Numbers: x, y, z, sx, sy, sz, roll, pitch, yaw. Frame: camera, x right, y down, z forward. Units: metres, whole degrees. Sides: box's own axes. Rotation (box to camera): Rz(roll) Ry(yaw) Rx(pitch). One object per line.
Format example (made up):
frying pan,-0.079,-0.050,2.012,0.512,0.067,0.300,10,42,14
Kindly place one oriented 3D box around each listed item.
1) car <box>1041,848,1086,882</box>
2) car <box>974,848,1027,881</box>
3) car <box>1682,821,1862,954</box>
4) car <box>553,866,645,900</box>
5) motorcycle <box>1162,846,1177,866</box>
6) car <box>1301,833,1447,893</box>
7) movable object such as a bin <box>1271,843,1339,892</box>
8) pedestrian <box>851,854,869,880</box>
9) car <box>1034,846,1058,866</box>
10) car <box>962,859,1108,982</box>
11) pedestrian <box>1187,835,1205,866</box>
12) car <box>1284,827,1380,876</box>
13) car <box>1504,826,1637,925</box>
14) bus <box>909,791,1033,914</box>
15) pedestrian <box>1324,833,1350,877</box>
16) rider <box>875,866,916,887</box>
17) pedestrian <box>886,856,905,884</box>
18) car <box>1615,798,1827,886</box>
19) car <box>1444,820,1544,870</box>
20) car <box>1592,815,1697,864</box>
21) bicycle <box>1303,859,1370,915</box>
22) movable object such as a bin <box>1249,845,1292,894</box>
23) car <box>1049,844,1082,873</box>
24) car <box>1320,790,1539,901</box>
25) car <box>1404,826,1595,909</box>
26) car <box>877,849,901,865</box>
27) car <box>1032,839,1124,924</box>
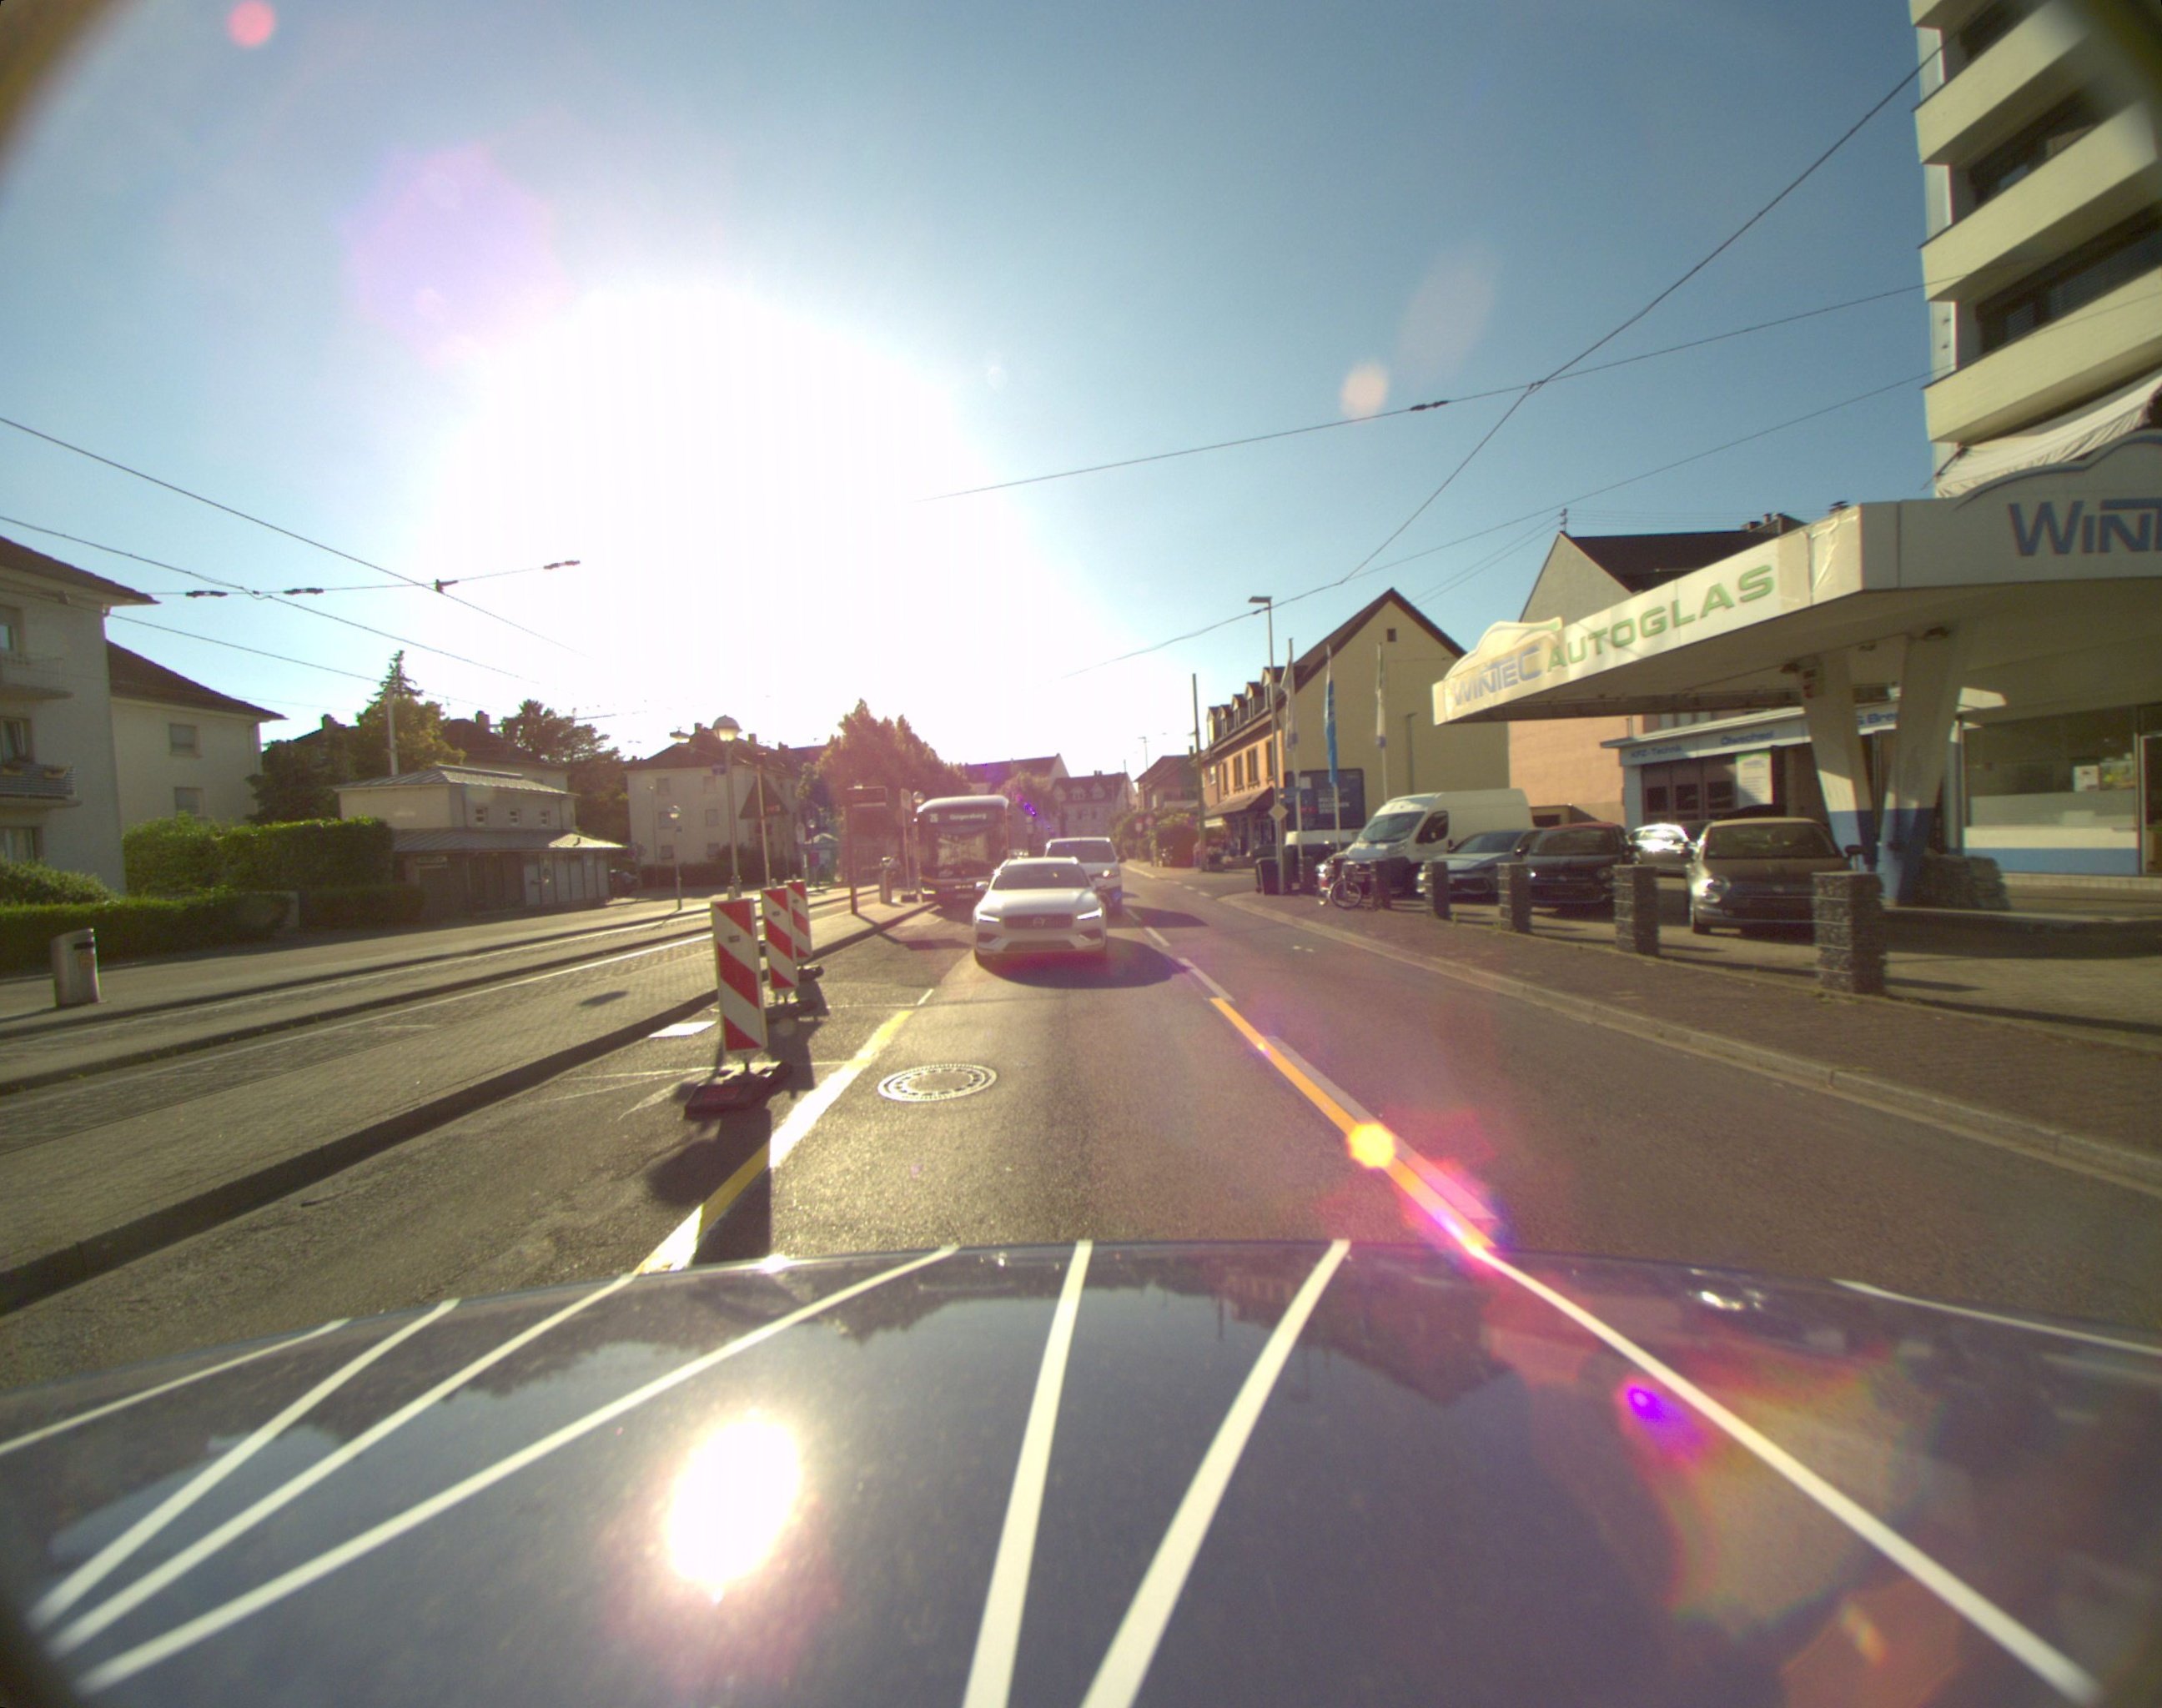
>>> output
car,-0.798,0.486,36.621,1.969,1.451,4.823,-2,1,0
car,-3.799,0.452,36.677,1.969,1.451,4.823,-2,1,0
car,9.266,0.346,10.424,1.538,1.478,3.379,-2,1,38
car,-28.472,1.720,44.933,4.052,1.663,2.000,-3,1,1
motorcycle,5.537,0.113,47.443,0.708,1.210,2.186,-2,1,2
car,8.552,0.217,22.118,4.036,1.469,1.739,-3,1,-29
movable object such as a bin,7.144,0.408,24.264,1.798,1.456,1.046,-3,2,-26
pedestrian,-13.879,0.798,47.697,0.826,1.601,0.840,-3,2,-36
car,-3.119,0.136,68.585,1.969,1.694,4.823,-2,1,0
car,-0.594,0.875,11.911,1.821,1.446,4.217,-2,1,0
pedestrian,6.576,-0.212,43.505,0.809,1.703,0.859,-2,1,-2
car,10.974,-0.121,33.330,3.672,2.002,1.451,-2,1,-3
car,8.797,0.304,13.541,1.590,1.488,3.442,-2,1,39
bus,-3.414,-0.103,27.013,2.749,3.284,12.029,-2,1,-1
pedestrian,10.834,0.039,32.146,0.767,1.842,0.823,-2,2,-3
rider,-9.224,1.103,37.767,1.854,0.986,0.581,-2,1,13
pedestrian,-9.228,0.793,37.749,0.657,1.373,0.581,-2,2,13
car,16.109,-0.307,19.476,1.742,1.933,4.257,-3,1,-1
car,18.241,-0.396,33.620,3.672,2.002,1.451,-2,1,-3
car,25.089,-0.654,33.867,3.672,2.002,1.451,-2,1,-3
bicycle,5.552,0.685,16.640,0.725,1.080,1.791,-3,1,-4
movable object such as a bin,5.802,0.475,23.280,1.045,1.456,0.797,-1,2,31
car,-0.978,0.244,49.004,1.969,1.694,4.823,-2,1,0
car,8.776,-0.274,19.132,4.997,2.440,2.111,-3,1,-23
car,9.162,0.234,16.592,4.036,1.488,1.739,-3,1,-29
car,-24.891,0.388,98.615,1.999,1.853,3.999,-2,1,0
car,-0.069,0.583,19.247,1.969,1.816,5.032,-2,1,0
